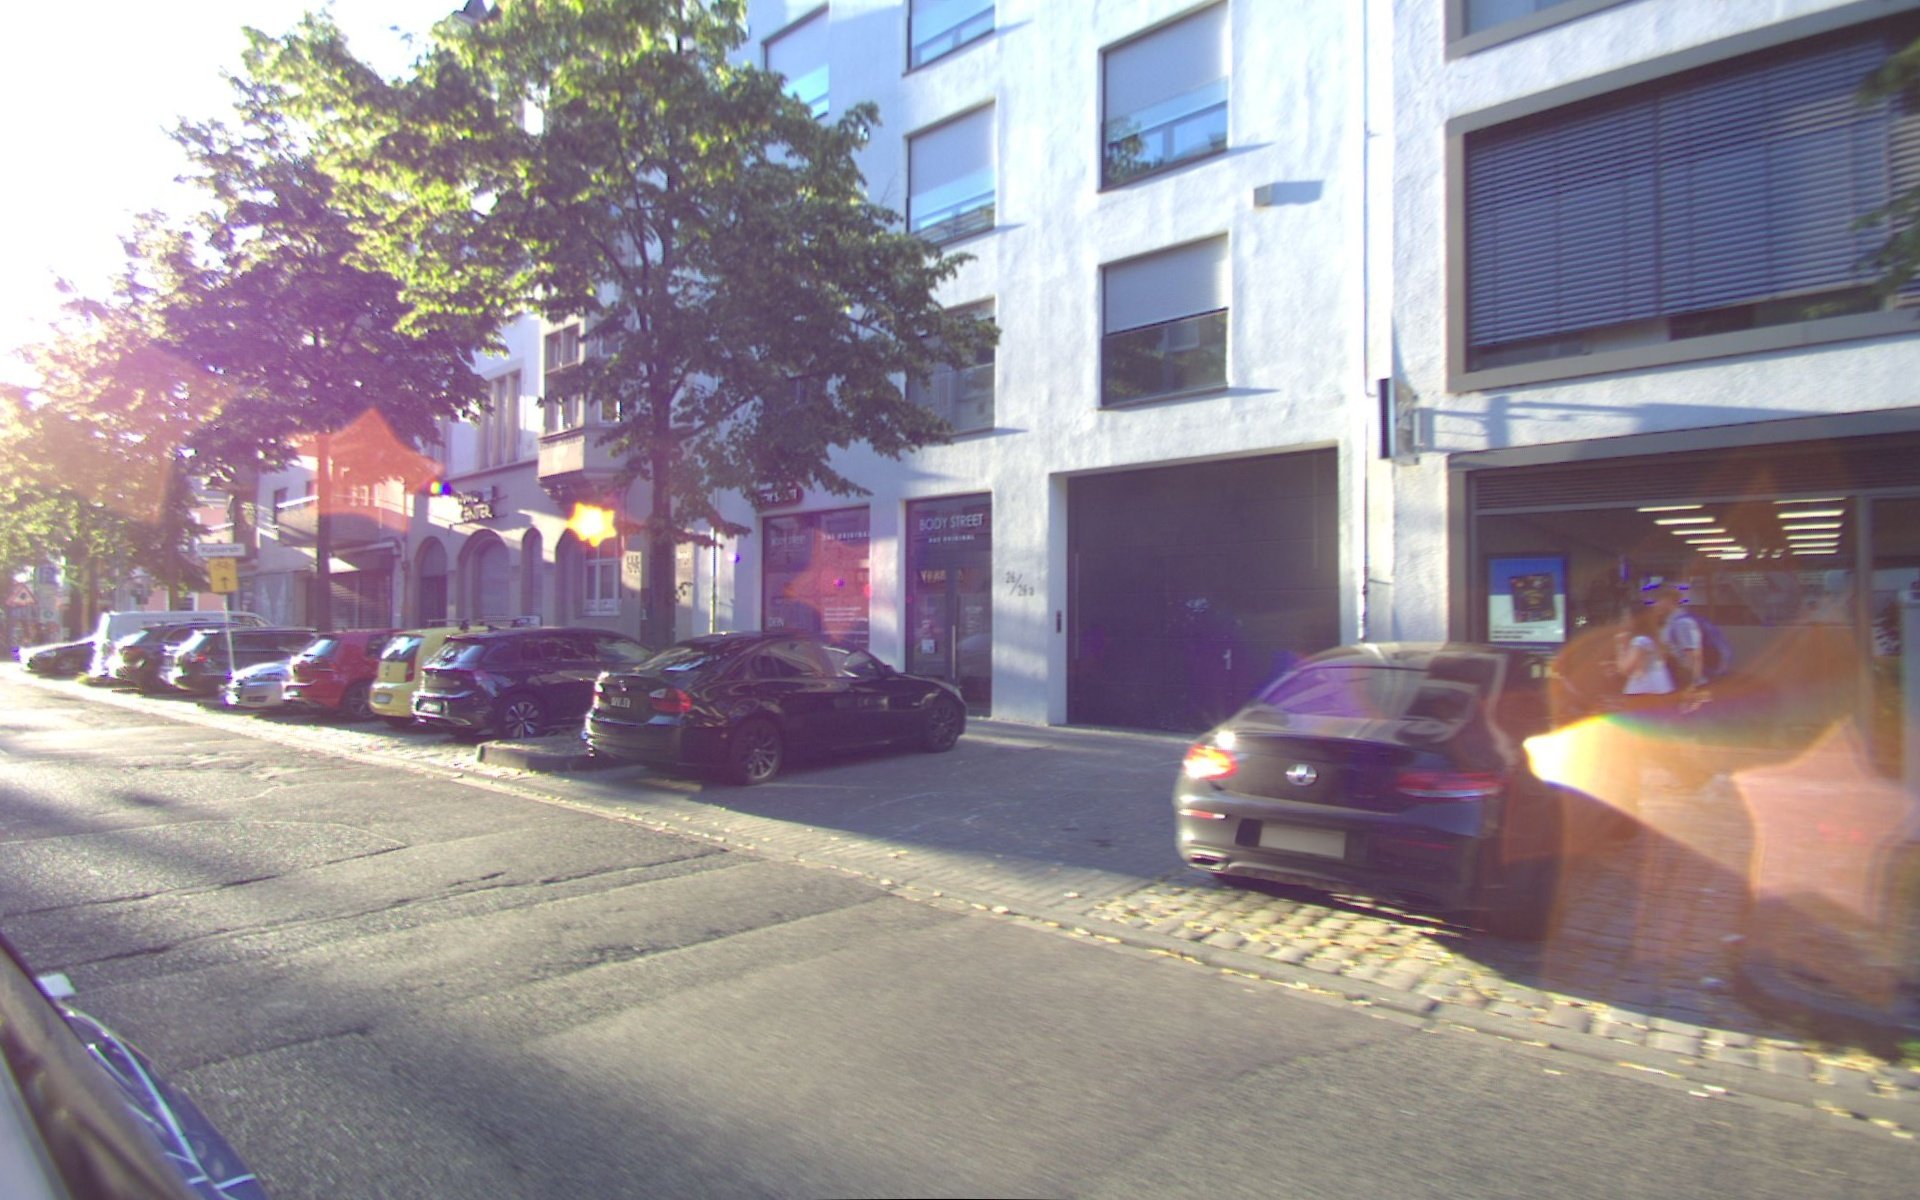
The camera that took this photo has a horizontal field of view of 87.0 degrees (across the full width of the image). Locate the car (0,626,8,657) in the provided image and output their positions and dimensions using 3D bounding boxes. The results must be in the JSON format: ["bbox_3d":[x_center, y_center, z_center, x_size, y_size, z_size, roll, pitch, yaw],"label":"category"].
[{"bbox_3d":[-59.339,2.517,59.774,1.813,1.857,4.383,-2,-1,40],"label":"car"}]

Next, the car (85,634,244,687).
[{"bbox_3d":[-23.580,1.757,30.081,1.512,1.424,3.535,-1,-2,43],"label":"car"}]

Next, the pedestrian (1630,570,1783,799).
[{"bbox_3d":[6.178,0.652,8.380,0.933,1.762,0.712,-2,0,41],"label":"pedestrian"}]

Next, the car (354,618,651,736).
[{"bbox_3d":[-6.916,1.080,15.614,1.742,1.579,3.829,-2,-2,38],"label":"car"}]

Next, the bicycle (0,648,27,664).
[{"bbox_3d":[-46.272,2.722,48.875,1.770,0.771,0.408,1,-2,-37],"label":"bicycle"}]

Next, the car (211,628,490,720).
[{"bbox_3d":[-10.936,1.259,18.403,1.741,1.397,4.003,-2,-1,37],"label":"car"}]

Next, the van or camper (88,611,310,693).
[{"bbox_3d":[-19.958,1.314,26.697,1.789,1.971,4.411,-2,-2,42],"label":"van or camper"}]

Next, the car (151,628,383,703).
[{"bbox_3d":[-15.914,1.440,23.415,1.731,1.453,4.140,-1,0,40],"label":"car"}]

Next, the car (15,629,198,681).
[{"bbox_3d":[-27.976,1.756,33.301,1.813,1.536,4.383,-2,-1,40],"label":"car"}]

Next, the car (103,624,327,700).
[{"bbox_3d":[-18.039,1.430,24.634,1.732,1.681,4.137,-1,-2,43],"label":"car"}]

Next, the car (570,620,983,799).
[{"bbox_3d":[-1.726,0.972,10.735,1.742,1.495,4.233,-2,-2,38],"label":"car"}]

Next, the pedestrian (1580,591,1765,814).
[{"bbox_3d":[5.631,0.753,8.008,1.094,1.614,0.712,-2,0,41],"label":"pedestrian"}]

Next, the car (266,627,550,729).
[{"bbox_3d":[-9.128,1.205,16.992,1.742,1.468,3.829,-2,-2,38],"label":"car"}]

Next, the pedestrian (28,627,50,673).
[{"bbox_3d":[-33.910,1.832,37.259,0.721,1.660,0.542,-2,-2,44],"label":"pedestrian"}]

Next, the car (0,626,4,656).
[{"bbox_3d":[-61.307,2.546,61.568,1.813,1.857,4.383,-2,-1,40],"label":"car"}]

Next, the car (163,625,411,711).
[{"bbox_3d":[-14.171,1.354,21.453,4.135,1.548,1.745,0,0,-44],"label":"car"}]

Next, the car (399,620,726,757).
[{"bbox_3d":[-5.273,1.082,13.827,1.742,1.579,3.829,-2,-2,38],"label":"car"}]

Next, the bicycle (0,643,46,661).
[{"bbox_3d":[-47.508,2.645,51.276,0.441,0.870,1.789,-1,-2,16],"label":"bicycle"}]

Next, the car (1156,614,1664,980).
[{"bbox_3d":[3.070,0.852,6.342,1.743,1.495,4.230,-2,-2,41],"label":"car"}]

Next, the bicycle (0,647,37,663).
[{"bbox_3d":[-46.783,2.731,49.970,1.770,0.771,0.408,1,-2,-37],"label":"bicycle"}]
